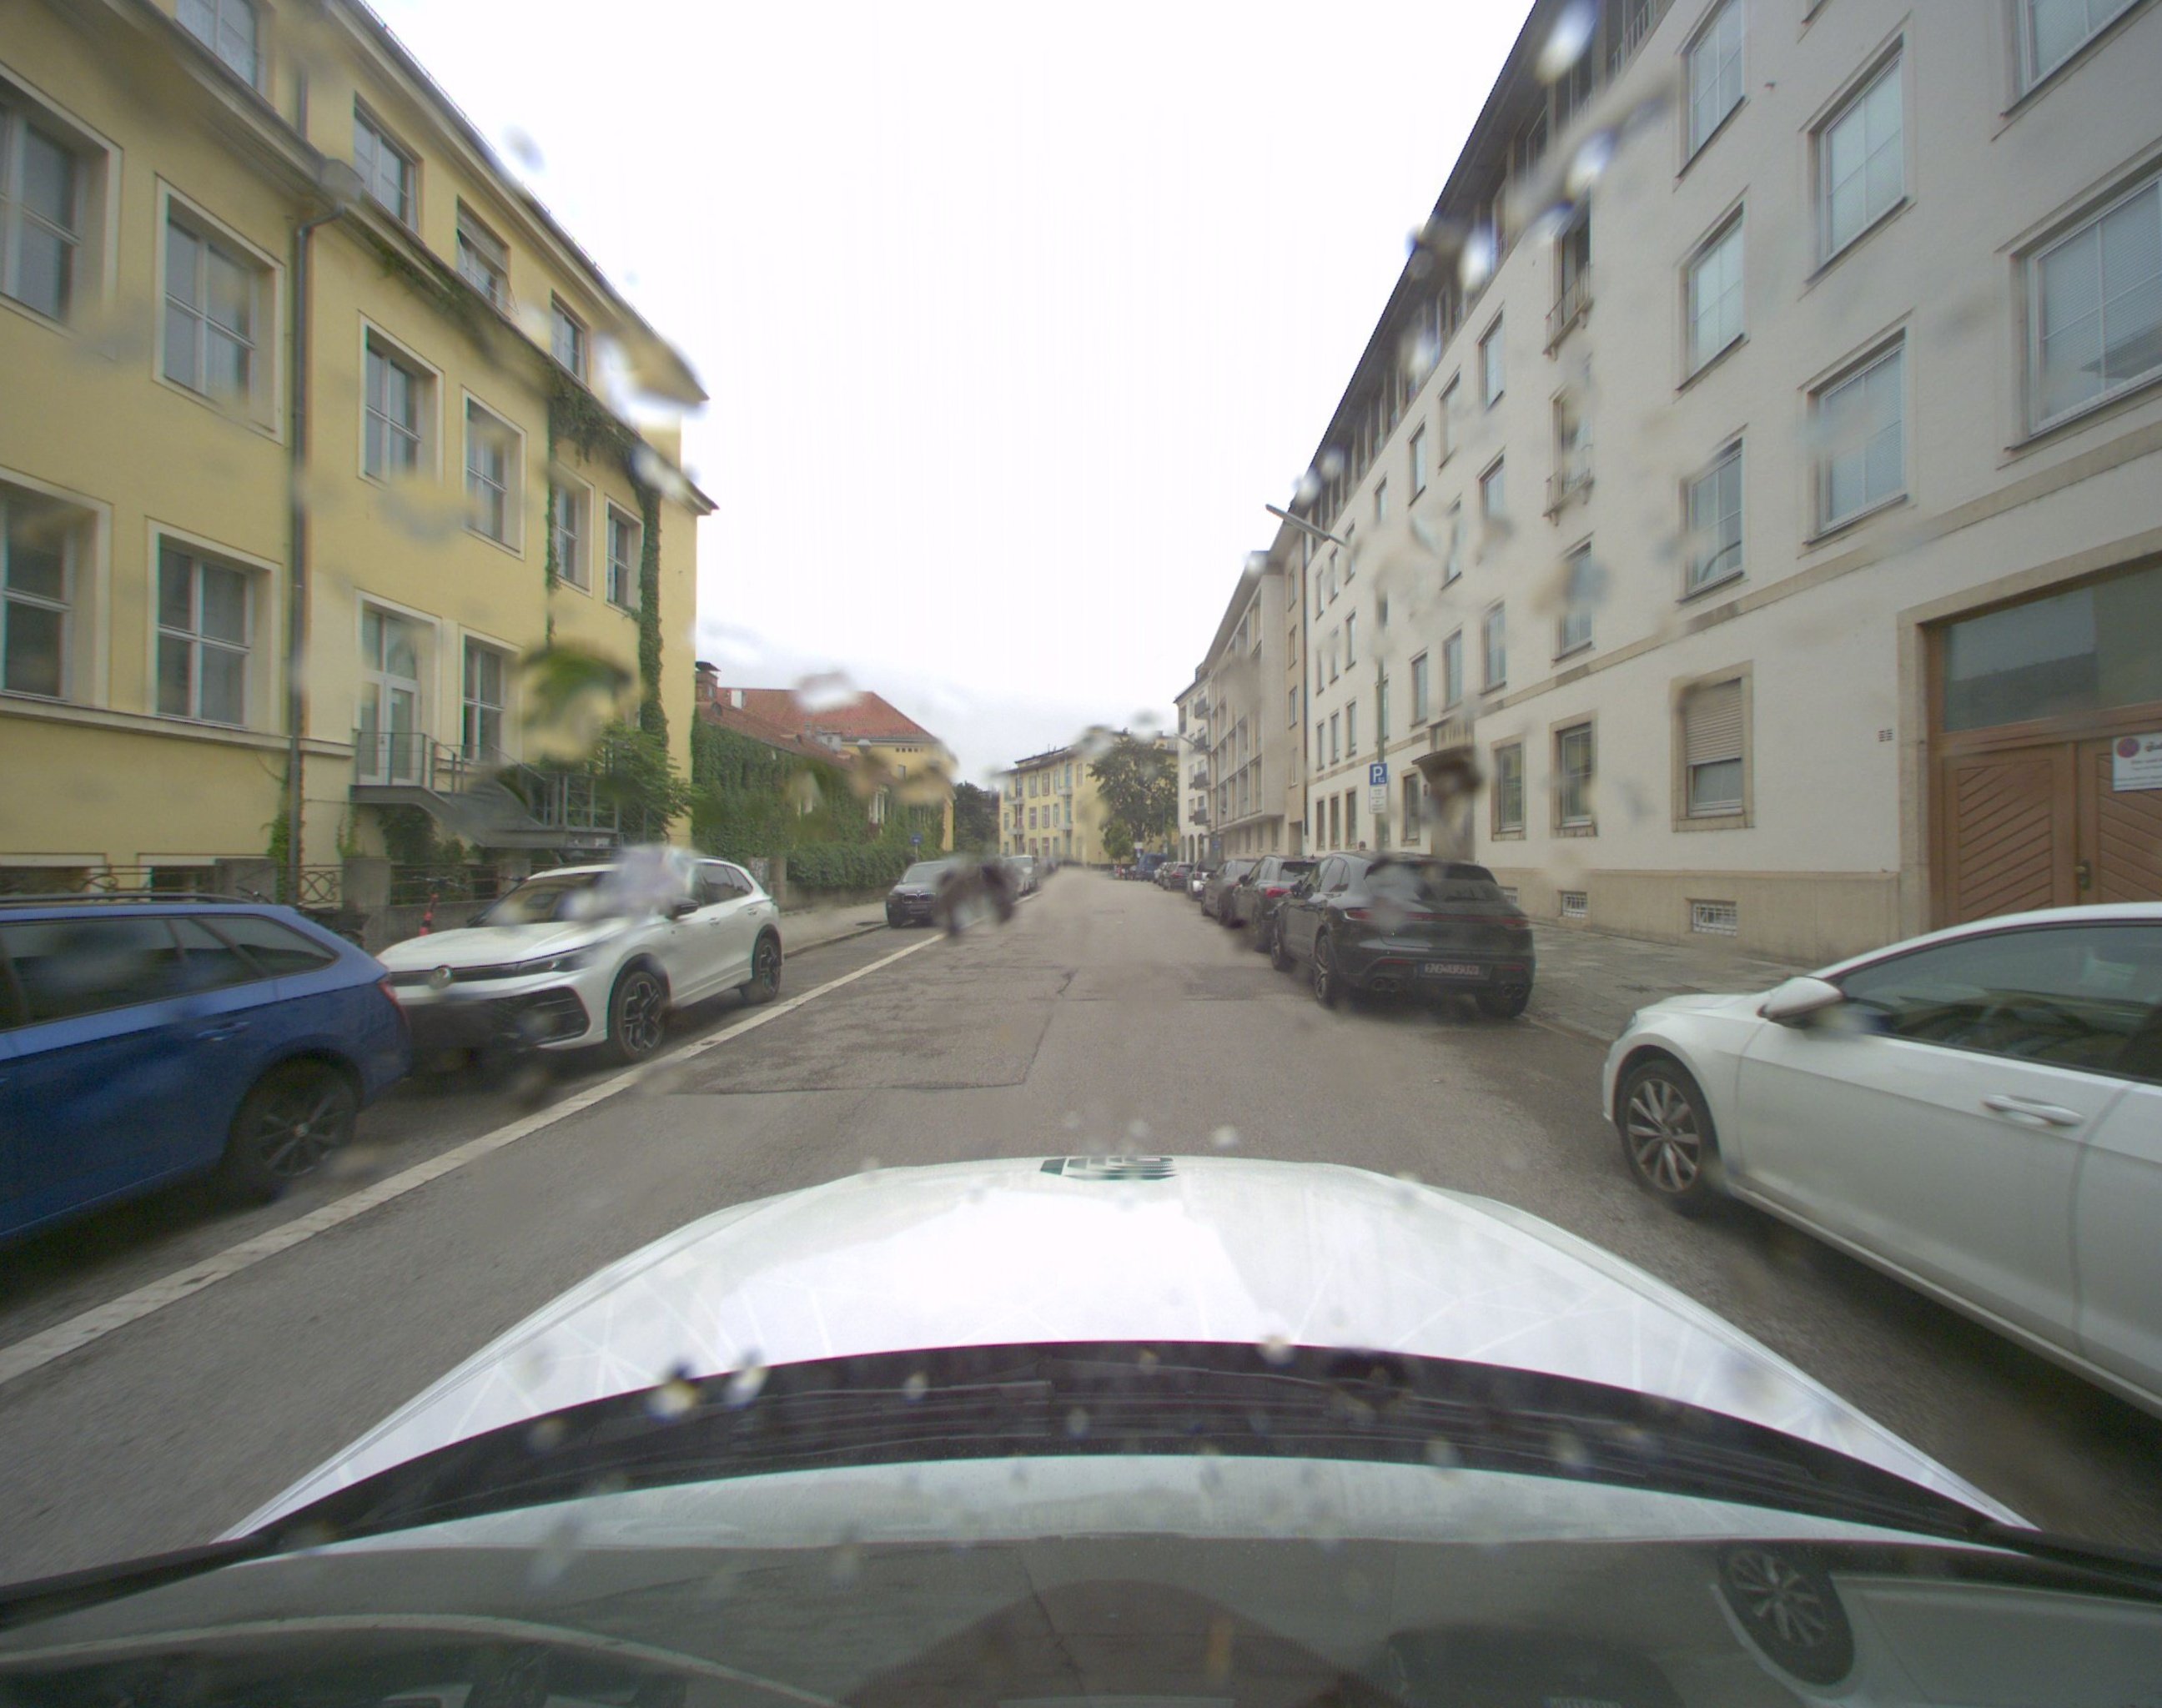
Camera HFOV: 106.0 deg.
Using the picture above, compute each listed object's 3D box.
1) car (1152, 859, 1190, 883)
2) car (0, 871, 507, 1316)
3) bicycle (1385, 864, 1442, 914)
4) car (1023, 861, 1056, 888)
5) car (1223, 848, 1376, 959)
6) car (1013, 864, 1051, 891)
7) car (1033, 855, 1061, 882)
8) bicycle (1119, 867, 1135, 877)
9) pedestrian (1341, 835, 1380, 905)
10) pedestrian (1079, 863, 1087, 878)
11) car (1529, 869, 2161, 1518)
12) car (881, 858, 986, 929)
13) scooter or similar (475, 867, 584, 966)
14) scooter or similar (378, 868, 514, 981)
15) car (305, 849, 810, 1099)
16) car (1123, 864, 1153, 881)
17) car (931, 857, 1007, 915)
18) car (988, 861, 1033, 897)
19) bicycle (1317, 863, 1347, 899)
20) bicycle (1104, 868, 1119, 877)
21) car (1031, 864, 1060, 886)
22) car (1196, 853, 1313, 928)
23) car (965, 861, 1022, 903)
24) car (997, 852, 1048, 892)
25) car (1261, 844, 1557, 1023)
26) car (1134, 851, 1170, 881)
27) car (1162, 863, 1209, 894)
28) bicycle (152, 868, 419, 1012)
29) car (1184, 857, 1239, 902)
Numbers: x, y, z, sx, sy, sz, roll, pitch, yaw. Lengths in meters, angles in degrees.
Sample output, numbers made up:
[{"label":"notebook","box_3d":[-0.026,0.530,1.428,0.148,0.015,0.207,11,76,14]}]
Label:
[{"label":"car","box_3d":[6.139,1.146,56.173,1.781,1.533,4.642,3,-1,-3]},{"label":"car","box_3d":[-4.590,0.904,2.929,1.697,1.502,4.495,-5,-1,1]},{"label":"bicycle","box_3d":[8.492,0.864,20.877,0.511,1.222,1.985,0,0,-4]},{"label":"car","box_3d":[-2.611,1.293,52.453,1.691,1.643,4.491,-3,-1,1]},{"label":"car","box_3d":[3.701,0.774,14.598,1.638,1.589,4.637,3,-1,3]},{"label":"car","box_3d":[-2.833,1.318,47.694,1.646,1.414,4.774,-3,-1,3]},{"label":"car","box_3d":[-2.664,1.146,63.023,2.068,1.964,5.343,-2,-1,-3]},{"label":"bicycle","box_3d":[5.865,2.301,104.196,1.907,1.201,0.598,0,-1,16]},{"label":"pedestrian","box_3d":[7.249,0.419,21.150,0.720,1.764,0.905,1,-3,3]},{"label":"pedestrian","box_3d":[0.277,2.125,104.824,0.877,1.823,0.793,1,-1,-18]},{"label":"car","box_3d":[3.292,0.798,2.361,1.666,1.429,4.533,2,-1,3]},{"label":"car","box_3d":[-3.743,0.943,21.514,1.783,1.587,4.818,-3,-1,1]},{"label":"scooter or similar","box_3d":[-8.261,0.897,12.275,0.558,1.369,1.502,-1,-1,3]},{"label":"scooter or similar","box_3d":[-8.295,0.876,10.723,0.558,1.369,1.502,-1,-1,3]},{"label":"car","box_3d":[-4.317,0.826,7.893,1.740,1.634,4.855,-1,-1,0]},{"label":"car","box_3d":[5.170,1.662,74.045,1.677,1.389,4.291,4,-2,-10]},{"label":"car","box_3d":[-3.518,0.977,26.369,1.718,1.629,4.466,-2,-1,1]},{"label":"car","box_3d":[-3.130,1.086,36.695,1.585,1.441,4.019,-2,-1,1]},{"label":"bicycle","box_3d":[8.839,0.928,28.697,0.527,1.218,2.105,0,-1,3]},{"label":"bicycle","box_3d":[3.959,2.367,105.456,1.903,1.201,0.599,0,-1,39]},{"label":"car","box_3d":[-2.481,1.437,57.758,1.688,1.393,4.501,-4,-1,1]},{"label":"car","box_3d":[4.031,0.789,19.795,1.796,1.484,5.321,3,-1,2]},{"label":"car","box_3d":[-3.300,1.045,31.441,1.598,1.430,4.252,-3,-1,1]},{"label":"car","box_3d":[-2.956,0.910,42.154,1.879,1.889,4.778,-3,-1,3]},{"label":"car","box_3d":[3.422,0.727,9.565,1.831,1.522,4.713,1,-1,4]},{"label":"car","box_3d":[5.882,1.041,67.884,2.075,2.234,5.236,4,-3,-4]},{"label":"car","box_3d":[5.175,1.184,40.877,1.739,1.388,4.953,2,-1,0]},{"label":"bicycle","box_3d":[-8.333,0.828,8.706,0.678,1.328,2.114,1,-1,3]},{"label":"car","box_3d":[4.787,0.904,30.086,1.643,1.495,2.883,3,-1,3]}]
